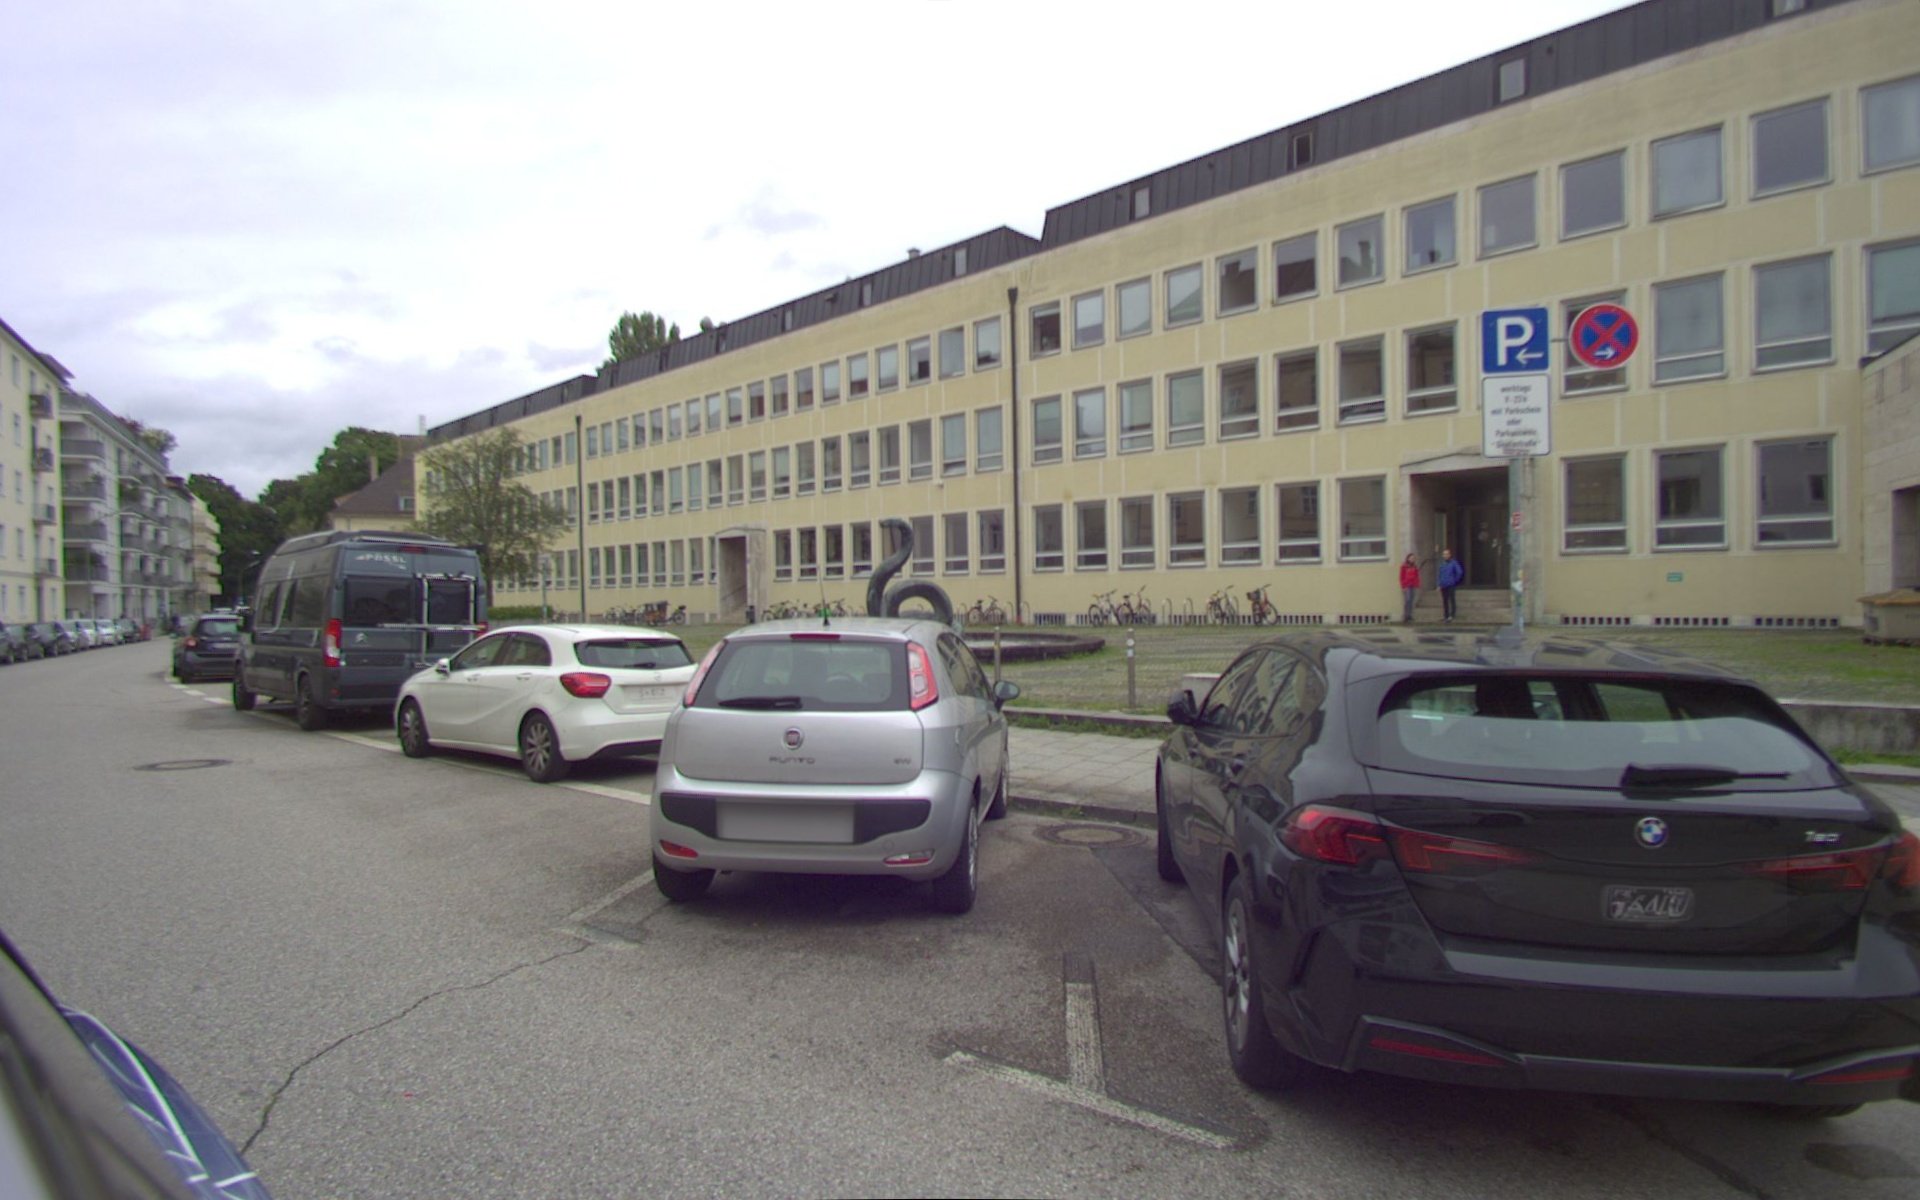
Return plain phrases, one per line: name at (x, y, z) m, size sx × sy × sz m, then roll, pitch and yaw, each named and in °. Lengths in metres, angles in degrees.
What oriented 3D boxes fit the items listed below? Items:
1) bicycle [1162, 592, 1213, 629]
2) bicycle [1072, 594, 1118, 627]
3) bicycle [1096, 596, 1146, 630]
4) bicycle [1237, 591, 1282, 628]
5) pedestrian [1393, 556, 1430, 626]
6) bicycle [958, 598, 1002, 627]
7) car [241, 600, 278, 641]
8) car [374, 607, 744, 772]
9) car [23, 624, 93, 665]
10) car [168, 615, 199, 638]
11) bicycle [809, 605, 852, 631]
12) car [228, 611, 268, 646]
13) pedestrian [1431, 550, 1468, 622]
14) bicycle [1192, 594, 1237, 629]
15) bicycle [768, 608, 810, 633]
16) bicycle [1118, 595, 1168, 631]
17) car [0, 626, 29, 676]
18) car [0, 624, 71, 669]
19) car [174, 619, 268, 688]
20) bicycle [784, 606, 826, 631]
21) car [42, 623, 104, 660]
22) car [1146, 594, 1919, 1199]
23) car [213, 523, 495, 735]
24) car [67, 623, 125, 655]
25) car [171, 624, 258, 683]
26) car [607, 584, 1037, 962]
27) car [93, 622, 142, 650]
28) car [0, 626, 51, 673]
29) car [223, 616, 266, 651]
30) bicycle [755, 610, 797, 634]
bicycle at (6.737, 0.312, 29.908) m, size 0.533 × 0.986 × 1.857 m, roll -1°, pitch 2°, yaw 45°
bicycle at (4.300, 0.318, 32.202) m, size 0.438 × 0.923 × 1.881 m, roll -1°, pitch 2°, yaw 41°
bicycle at (5.040, 0.409, 31.576) m, size 0.533 × 0.947 × 1.857 m, roll -1°, pitch 2°, yaw 45°
bicycle at (8.439, 0.255, 28.445) m, size 0.438 × 0.923 × 1.881 m, roll -1°, pitch 2°, yaw 41°
pedestrian at (11.520, -0.233, 25.819) m, size 0.646 × 1.757 × 0.707 m, roll -2°, pitch 1°, yaw 39°
bicycle at (0.746, 0.453, 36.396) m, size 0.438 × 0.923 × 1.881 m, roll -1°, pitch 2°, yaw 41°
car at (-49.924, 1.419, 72.165) m, size 1.966 × 2.738 × 4.973 m, roll 0°, pitch 0°, yaw -33°
car at (-4.302, 0.839, 10.592) m, size 4.138 × 1.398 × 1.809 m, roll -1°, pitch -4°, yaw 39°
car at (-40.828, 1.979, 45.908) m, size 1.754 × 1.603 × 3.712 m, roll -3°, pitch 2°, yaw -33°
car at (-64.112, 2.185, 83.587) m, size 1.613 × 1.748 × 3.891 m, roll -3°, pitch 2°, yaw -33°
bicycle at (-5.305, 0.731, 41.537) m, size 0.438 × 0.923 × 1.881 m, roll -1°, pitch 2°, yaw 41°
car at (-42.778, 1.655, 60.832) m, size 1.918 × 1.991 × 4.366 m, roll 0°, pitch -1°, yaw -35°
pedestrian at (12.238, -0.360, 25.282) m, size 0.646 × 1.757 × 0.707 m, roll -2°, pitch 1°, yaw 39°
bicycle at (7.380, 0.323, 29.286) m, size 0.438 × 0.923 × 1.881 m, roll -1°, pitch 2°, yaw 41°
bicycle at (-7.308, 0.870, 43.279) m, size 0.438 × 0.923 × 1.881 m, roll -1°, pitch 2°, yaw 41°
bicycle at (5.615, 0.381, 30.979) m, size 0.533 × 0.975 × 1.857 m, roll -1°, pitch 2°, yaw 45°
car at (-33.872, 1.784, 35.019) m, size 1.754 × 1.603 × 3.712 m, roll -3°, pitch 2°, yaw -33°
car at (-38.255, 1.884, 41.762) m, size 1.754 × 1.603 × 3.712 m, roll -3°, pitch 2°, yaw -33°
car at (-17.132, 1.195, 23.456) m, size 1.645 × 1.471 × 2.874 m, roll 2°, pitch -2°, yaw -37°
bicycle at (-6.520, 0.788, 42.603) m, size 0.438 × 0.923 × 1.881 m, roll -1°, pitch 2°, yaw 41°
car at (-44.032, 2.031, 50.307) m, size 1.754 × 1.603 × 3.712 m, roll -3°, pitch 2°, yaw -33°
car at (1.873, 0.734, 4.222) m, size 1.727 × 1.384 × 4.001 m, roll 0°, pitch -2°, yaw 4°
car at (-9.344, 0.411, 15.291) m, size 6.213 × 2.594 × 2.120 m, roll -1°, pitch -1°, yaw 44°
car at (-46.225, 2.063, 54.221) m, size 1.812 × 1.469 × 4.033 m, roll -3°, pitch 2°, yaw -34°
car at (-19.766, 1.362, 26.800) m, size 1.699 × 1.374 × 4.221 m, roll 2°, pitch -2°, yaw -37°
car at (-0.467, 0.735, 6.348) m, size 1.655 × 1.541 × 3.975 m, roll -2°, pitch 1°, yaw 7°
car at (-49.095, 2.066, 59.020) m, size 1.715 × 1.385 × 4.033 m, roll -3°, pitch 2°, yaw -34°
car at (-36.036, 1.862, 38.315) m, size 1.754 × 1.603 × 3.712 m, roll -3°, pitch 2°, yaw -33°
car at (-37.247, 1.701, 52.748) m, size 1.717 × 1.701 × 4.133 m, roll 0°, pitch -1°, yaw -34°
bicycle at (-7.985, 0.929, 43.893) m, size 0.438 × 0.923 × 1.881 m, roll -1°, pitch 2°, yaw 41°
